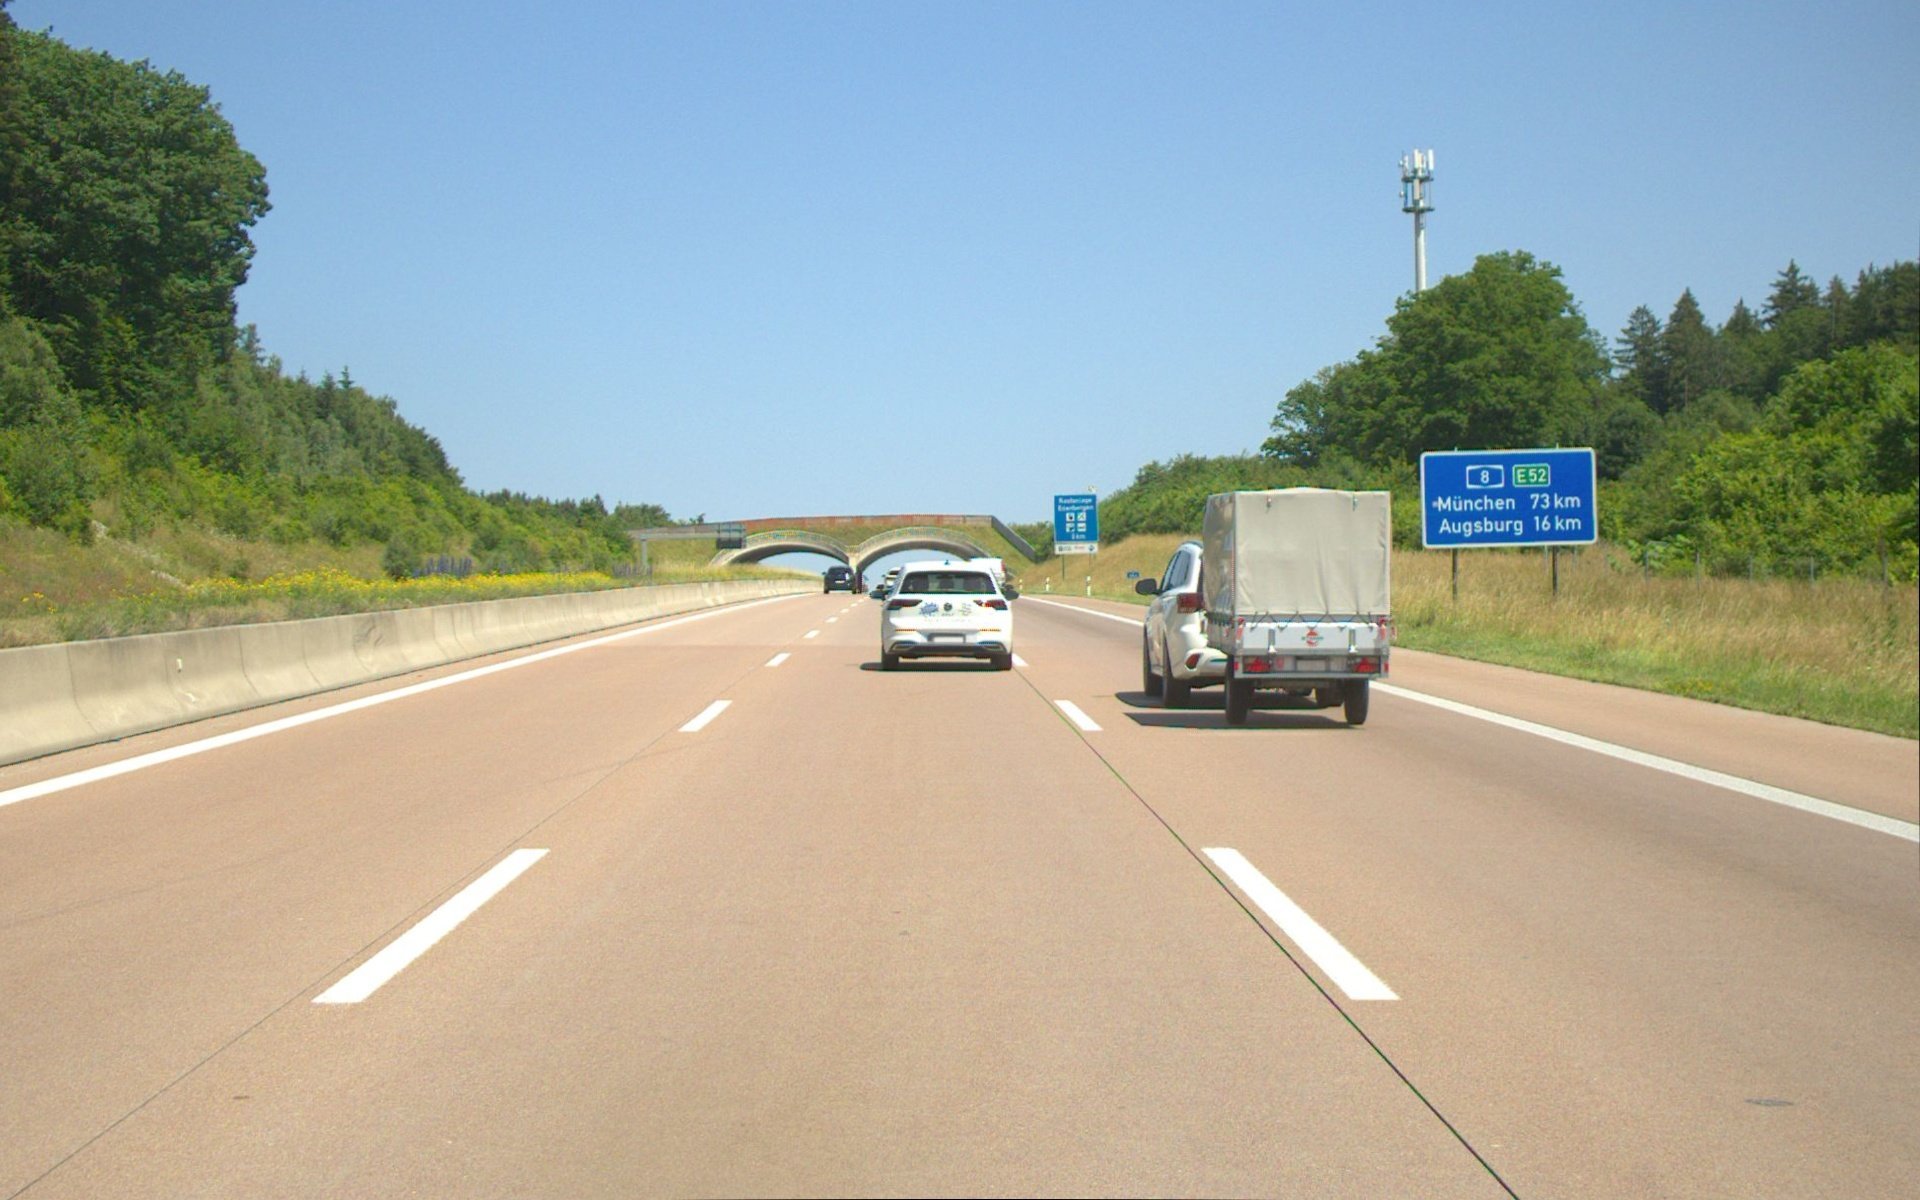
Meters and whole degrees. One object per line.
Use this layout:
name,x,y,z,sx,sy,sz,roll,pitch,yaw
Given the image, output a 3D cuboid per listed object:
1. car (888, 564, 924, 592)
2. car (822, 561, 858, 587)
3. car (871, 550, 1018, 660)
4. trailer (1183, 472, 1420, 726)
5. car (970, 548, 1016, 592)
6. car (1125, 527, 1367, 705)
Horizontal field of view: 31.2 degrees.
car,-2.914,-1.183,186.719,1.891,1.458,4.000,1,1,0
car,-6.969,-1.509,200.403,1.891,1.458,4.000,0,1,1
car,-0.237,0.039,46.574,1.891,1.393,4.000,1,1,-1
trailer,3.037,-0.023,31.263,1.657,2.156,4.016,0,0,-1
car,1.565,-1.442,162.592,2.110,2.047,4.000,0,1,1
car,2.890,0.126,35.819,1.890,1.722,5.187,0,1,-2
